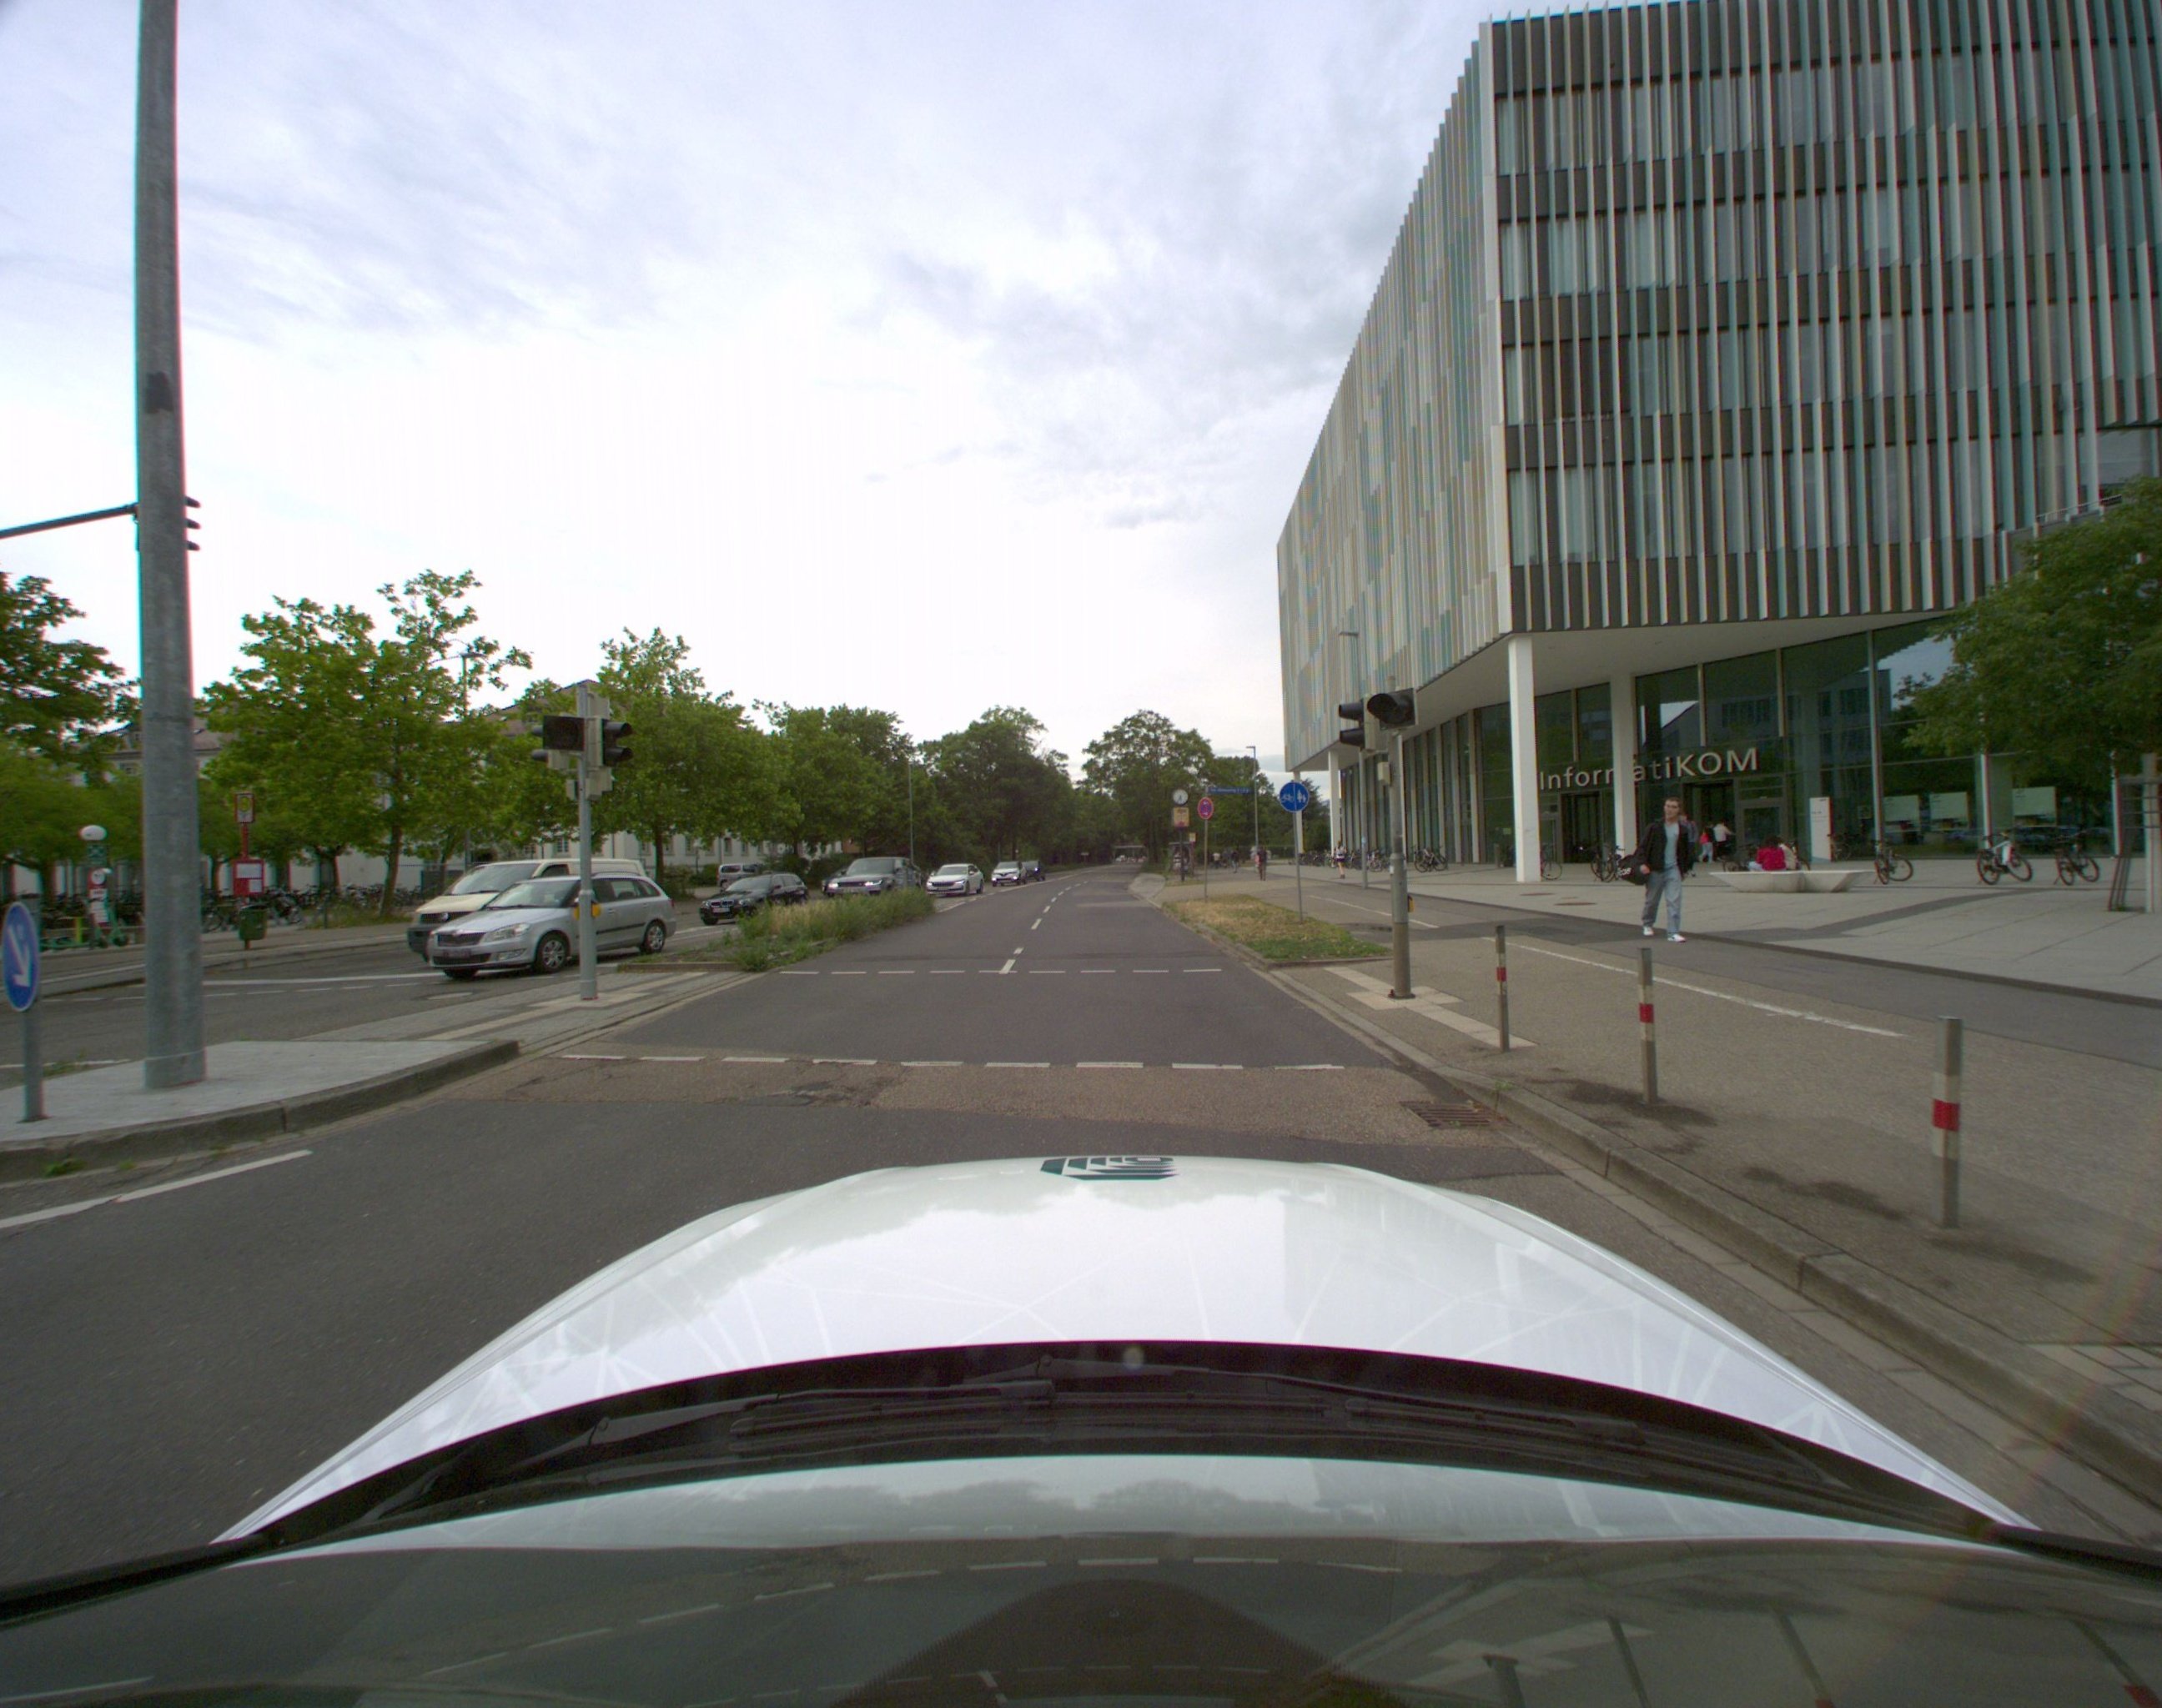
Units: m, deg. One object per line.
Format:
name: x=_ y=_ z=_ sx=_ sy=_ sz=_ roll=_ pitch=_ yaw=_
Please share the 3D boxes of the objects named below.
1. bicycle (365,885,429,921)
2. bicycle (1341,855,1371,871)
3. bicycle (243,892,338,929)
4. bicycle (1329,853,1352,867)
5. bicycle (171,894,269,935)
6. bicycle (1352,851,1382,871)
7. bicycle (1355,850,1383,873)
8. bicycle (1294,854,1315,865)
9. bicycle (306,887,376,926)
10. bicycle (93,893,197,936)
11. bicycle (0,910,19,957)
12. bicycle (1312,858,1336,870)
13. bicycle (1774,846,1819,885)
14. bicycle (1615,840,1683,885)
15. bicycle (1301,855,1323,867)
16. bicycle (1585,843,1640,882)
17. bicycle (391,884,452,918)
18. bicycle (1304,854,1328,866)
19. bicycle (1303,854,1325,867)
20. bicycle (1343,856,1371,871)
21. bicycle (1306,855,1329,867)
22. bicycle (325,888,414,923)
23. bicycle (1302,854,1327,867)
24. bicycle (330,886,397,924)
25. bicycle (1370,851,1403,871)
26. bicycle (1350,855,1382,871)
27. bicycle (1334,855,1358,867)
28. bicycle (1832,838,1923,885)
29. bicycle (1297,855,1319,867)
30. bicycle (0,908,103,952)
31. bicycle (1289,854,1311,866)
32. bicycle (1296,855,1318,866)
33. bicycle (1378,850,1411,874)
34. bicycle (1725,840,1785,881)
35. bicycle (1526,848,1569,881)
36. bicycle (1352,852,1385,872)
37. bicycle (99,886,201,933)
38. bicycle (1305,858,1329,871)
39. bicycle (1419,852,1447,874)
bicycle: x=-32.495 y=2.317 z=38.707 sx=2.390 sy=1.594 sz=0.722 roll=-2 pitch=-1 yaw=1
bicycle: x=16.763 y=0.537 z=49.694 sx=1.598 sy=0.875 sz=0.557 roll=-2 pitch=-1 yaw=5
bicycle: x=-27.714 y=1.974 z=28.598 sx=2.326 sy=1.144 sz=0.718 roll=-2 pitch=-1 yaw=-13
bicycle: x=16.878 y=0.387 z=52.971 sx=1.277 sy=0.875 sz=0.557 roll=-3 pitch=-1 yaw=5
bicycle: x=-27.157 y=1.905 z=25.724 sx=2.032 sy=1.153 sz=0.718 roll=-2 pitch=-1 yaw=-13
bicycle: x=16.122 y=0.389 z=45.921 sx=1.393 sy=1.043 sz=0.560 roll=-4 pitch=-1 yaw=5
bicycle: x=14.995 y=0.391 z=42.407 sx=0.633 sy=1.140 sz=2.201 roll=-5 pitch=-1 yaw=1
bicycle: x=18.711 y=0.444 z=68.241 sx=1.600 sy=0.875 sz=0.556 roll=-2 pitch=-1 yaw=1
bicycle: x=-32.723 y=2.306 z=36.040 sx=2.390 sy=1.594 sz=0.722 roll=-2 pitch=-1 yaw=1
bicycle: x=-33.046 y=2.127 z=28.769 sx=2.808 sy=1.329 sz=0.722 roll=-2 pitch=-1 yaw=1
bicycle: x=-33.257 y=2.423 z=24.187 sx=2.475 sy=1.354 sz=0.722 roll=-2 pitch=-1 yaw=1
bicycle: x=17.481 y=0.716 z=58.646 sx=1.552 sy=0.716 sz=0.557 roll=-3 pitch=-1 yaw=5
bicycle: x=18.248 y=0.281 z=20.753 sx=1.856 sy=0.899 sz=0.664 roll=-2 pitch=-1 yaw=-44
bicycle: x=16.466 y=0.241 z=23.587 sx=2.732 sy=1.188 sz=0.766 roll=-2 pitch=-1 yaw=-37
bicycle: x=18.386 y=0.552 z=64.832 sx=1.598 sy=0.875 sz=0.557 roll=-3 pitch=-1 yaw=5
bicycle: x=16.331 y=0.255 z=25.006 sx=2.194 sy=1.115 sz=0.728 roll=-2 pitch=-1 yaw=-38
bicycle: x=-32.728 y=2.326 z=40.443 sx=2.390 sy=1.594 sz=0.722 roll=-2 pitch=-1 yaw=1
bicycle: x=17.615 y=0.453 z=61.078 sx=1.598 sy=0.875 sz=0.557 roll=-3 pitch=-1 yaw=5
bicycle: x=16.961 y=0.454 z=59.308 sx=1.447 sy=0.839 sz=0.557 roll=-3 pitch=-1 yaw=5
bicycle: x=17.491 y=0.603 z=51.631 sx=1.598 sy=0.896 sz=0.367 roll=-2 pitch=-1 yaw=5
bicycle: x=18.455 y=0.532 z=63.632 sx=1.598 sy=0.875 sz=0.557 roll=-3 pitch=-1 yaw=5
bicycle: x=-26.989 y=1.959 z=30.926 sx=2.736 sy=1.174 sz=0.722 roll=-2 pitch=-1 yaw=1
bicycle: x=17.225 y=0.493 z=60.107 sx=1.598 sy=0.875 sz=0.557 roll=-3 pitch=-1 yaw=5
bicycle: x=-32.765 y=2.312 z=37.213 sx=2.390 sy=1.594 sz=0.722 roll=-2 pitch=-1 yaw=1
bicycle: x=16.858 y=0.384 z=44.941 sx=1.594 sy=0.936 sz=0.571 roll=-5 pitch=0 yaw=15
bicycle: x=16.473 y=0.522 z=47.064 sx=1.598 sy=0.875 sz=0.557 roll=-2 pitch=-1 yaw=5
bicycle: x=17.778 y=0.478 z=54.672 sx=1.427 sy=0.746 sz=0.557 roll=-3 pitch=-1 yaw=5
bicycle: x=18.740 y=0.178 z=19.152 sx=2.196 sy=1.006 sz=0.775 roll=-2 pitch=-1 yaw=-25
bicycle: x=18.318 y=0.531 z=65.859 sx=1.598 sy=0.875 sz=0.557 roll=-3 pitch=-1 yaw=5
bicycle: x=-32.991 y=2.429 z=26.062 sx=2.526 sy=1.269 sz=0.722 roll=-2 pitch=-1 yaw=1
bicycle: x=18.115 y=0.474 z=67.431 sx=1.598 sy=0.875 sz=0.557 roll=-3 pitch=-1 yaw=5
bicycle: x=18.459 y=0.525 z=66.437 sx=1.598 sy=0.875 sz=0.557 roll=-3 pitch=-1 yaw=5
bicycle: x=15.230 y=0.378 z=39.570 sx=0.607 sy=1.080 sz=1.958 roll=-4 pitch=0 yaw=-6
bicycle: x=17.830 y=0.166 z=21.526 sx=1.969 sy=1.002 sz=0.766 roll=-2 pitch=-1 yaw=-37
bicycle: x=15.577 y=0.349 z=27.224 sx=0.634 sy=1.061 sz=1.845 roll=0 pitch=0 yaw=10
bicycle: x=16.408 y=0.458 z=46.469 sx=1.598 sy=0.982 sz=0.557 roll=-5 pitch=-1 yaw=5
bicycle: x=-34.031 y=2.031 z=29.802 sx=2.441 sy=1.559 sz=0.921 roll=-2 pitch=-1 yaw=-6
bicycle: x=16.849 y=0.743 z=58.092 sx=1.525 sy=0.833 sz=0.557 roll=-3 pitch=-1 yaw=5
bicycle: x=16.273 y=0.408 z=37.656 sx=1.494 sy=0.929 sz=0.436 roll=-3 pitch=1 yaw=-34
